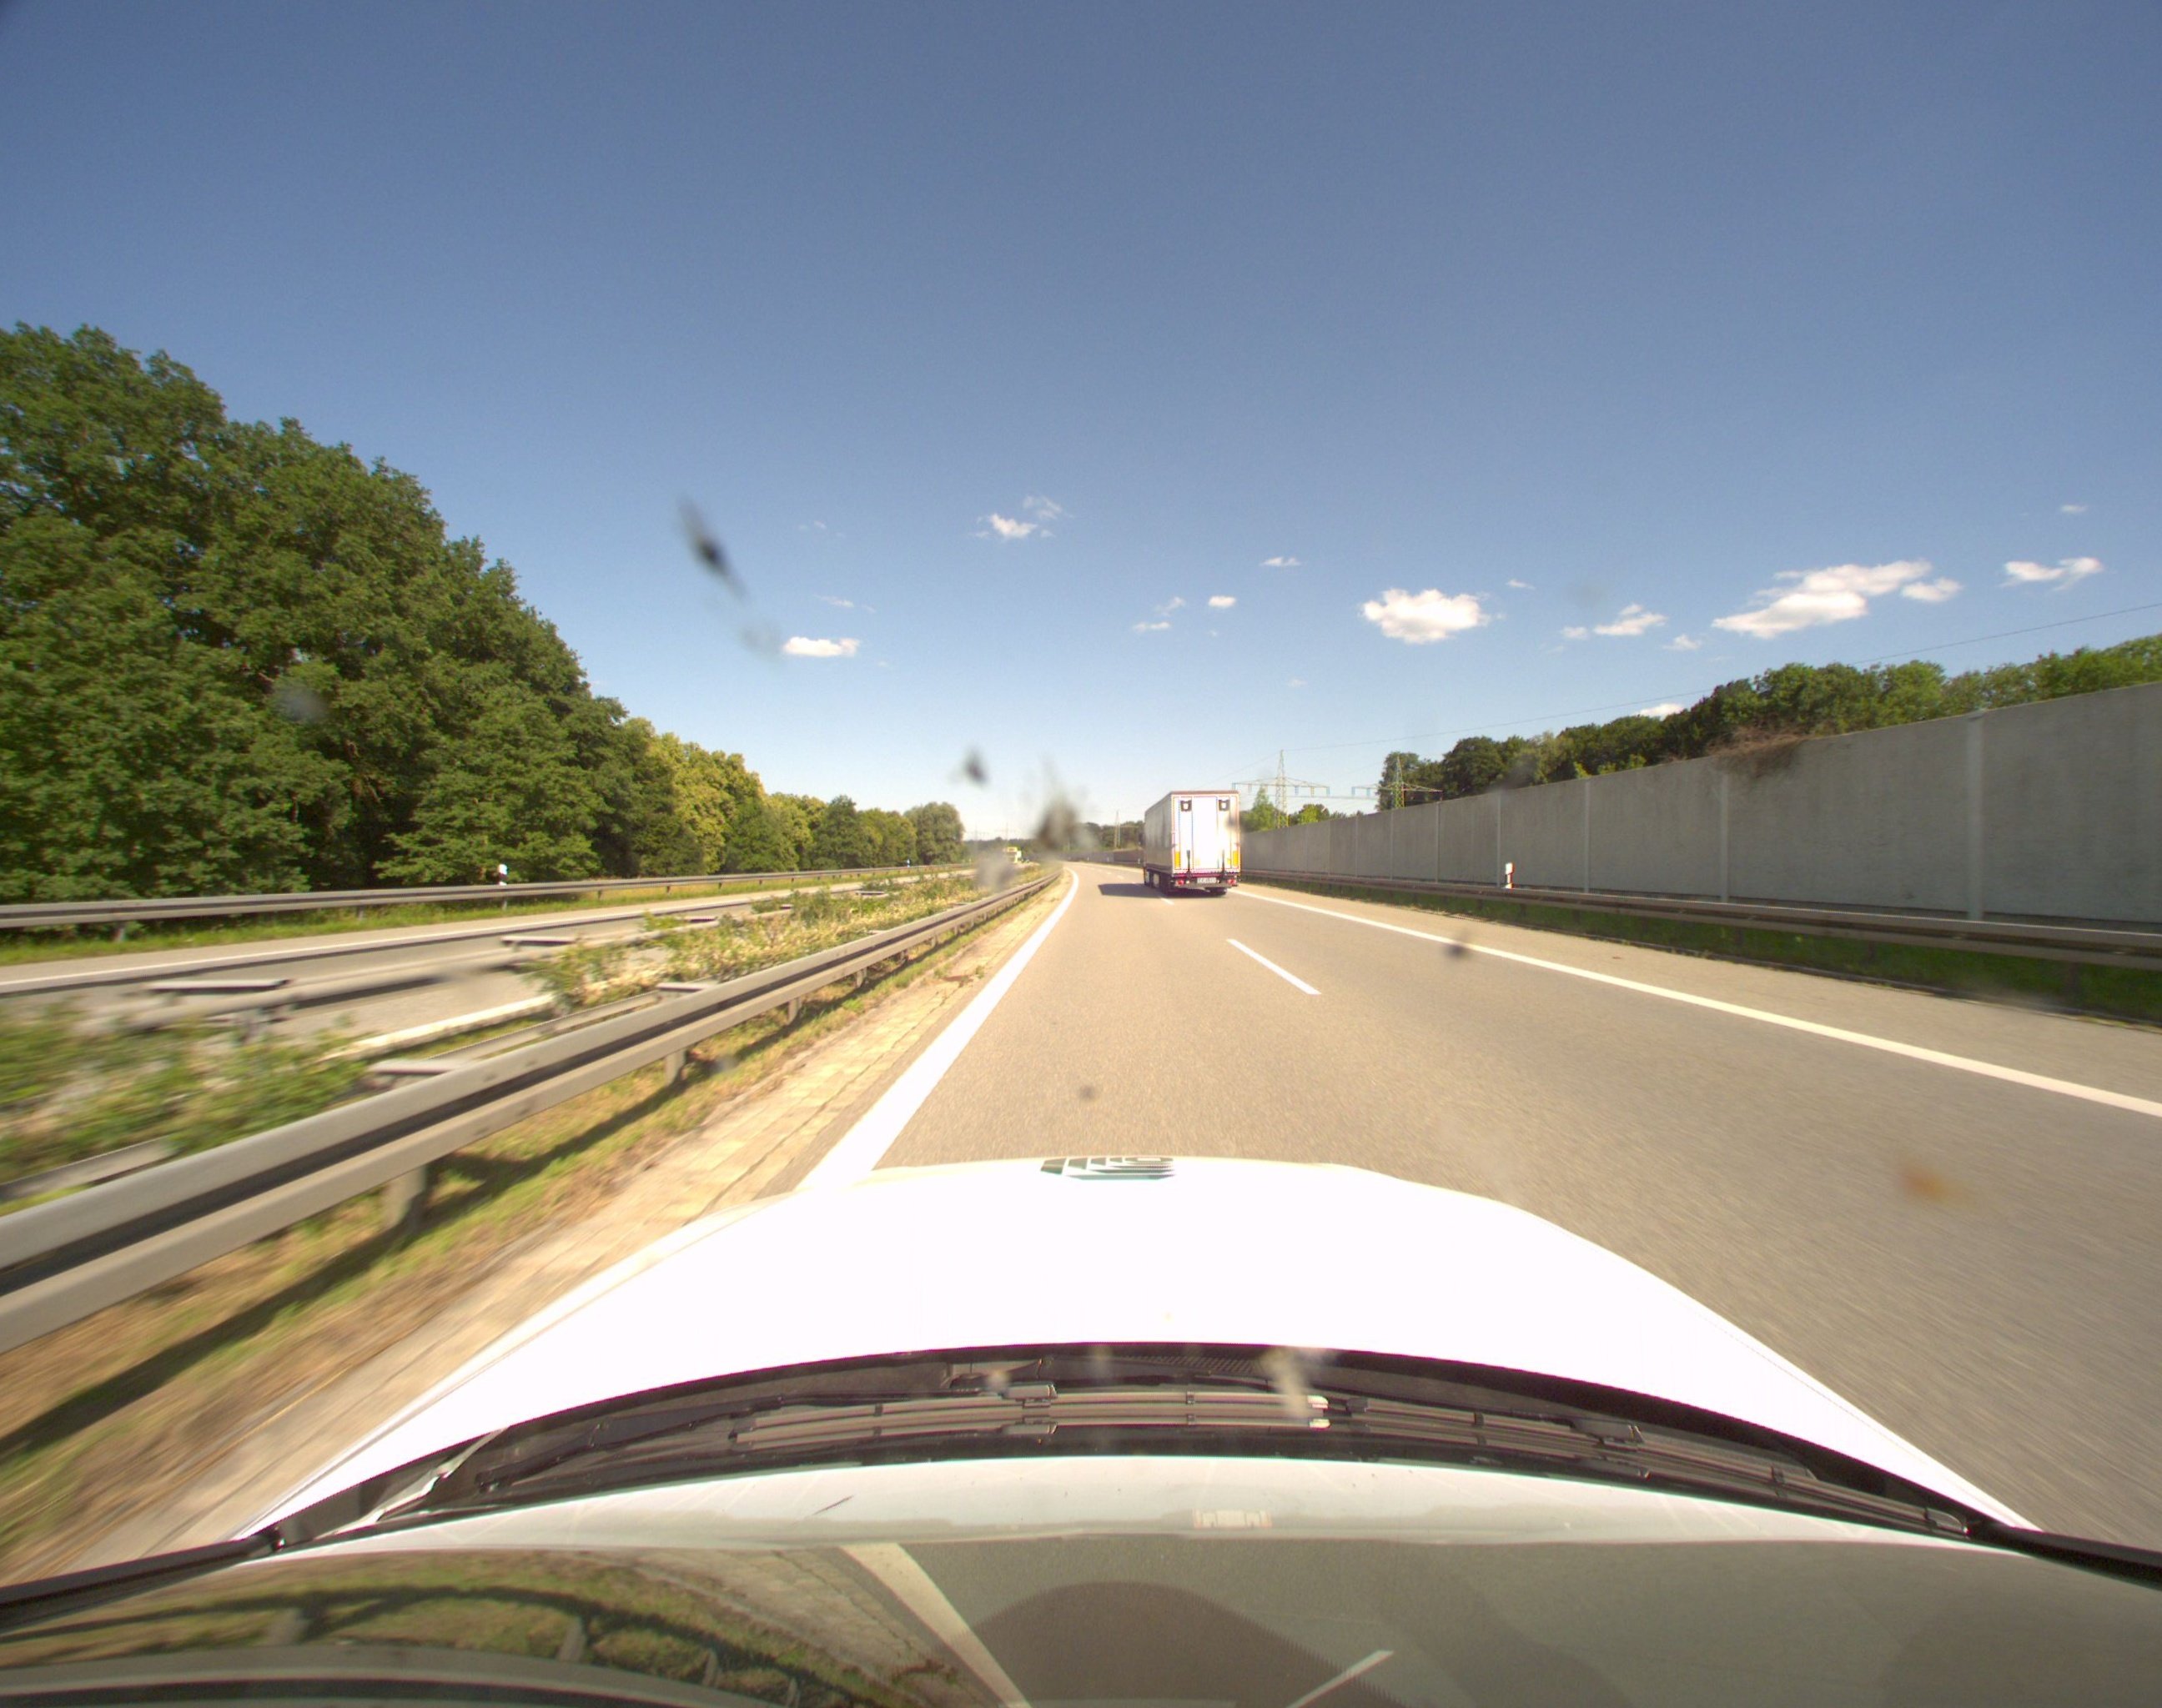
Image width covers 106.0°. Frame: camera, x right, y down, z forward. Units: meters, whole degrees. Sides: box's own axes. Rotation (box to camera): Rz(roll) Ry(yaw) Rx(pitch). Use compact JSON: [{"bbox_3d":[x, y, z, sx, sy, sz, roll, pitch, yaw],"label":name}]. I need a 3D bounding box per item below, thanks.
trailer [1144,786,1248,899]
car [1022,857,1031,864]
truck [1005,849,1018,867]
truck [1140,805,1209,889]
[{"bbox_3d":[4.699,-0.376,36.156,2.874,4.066,12.419,-2,-1,0],"label":"trailer"},{"bbox_3d":[-13.797,1.582,205.368,1.990,1.670,3.992,-2,-1,-5],"label":"car"},{"bbox_3d":[-15.852,1.049,186.762,2.754,3.907,8.755,-2,-1,-5],"label":"truck"},{"bbox_3d":[4.778,-0.307,42.875,2.821,4.012,6.586,-2,-1,0],"label":"truck"}]
